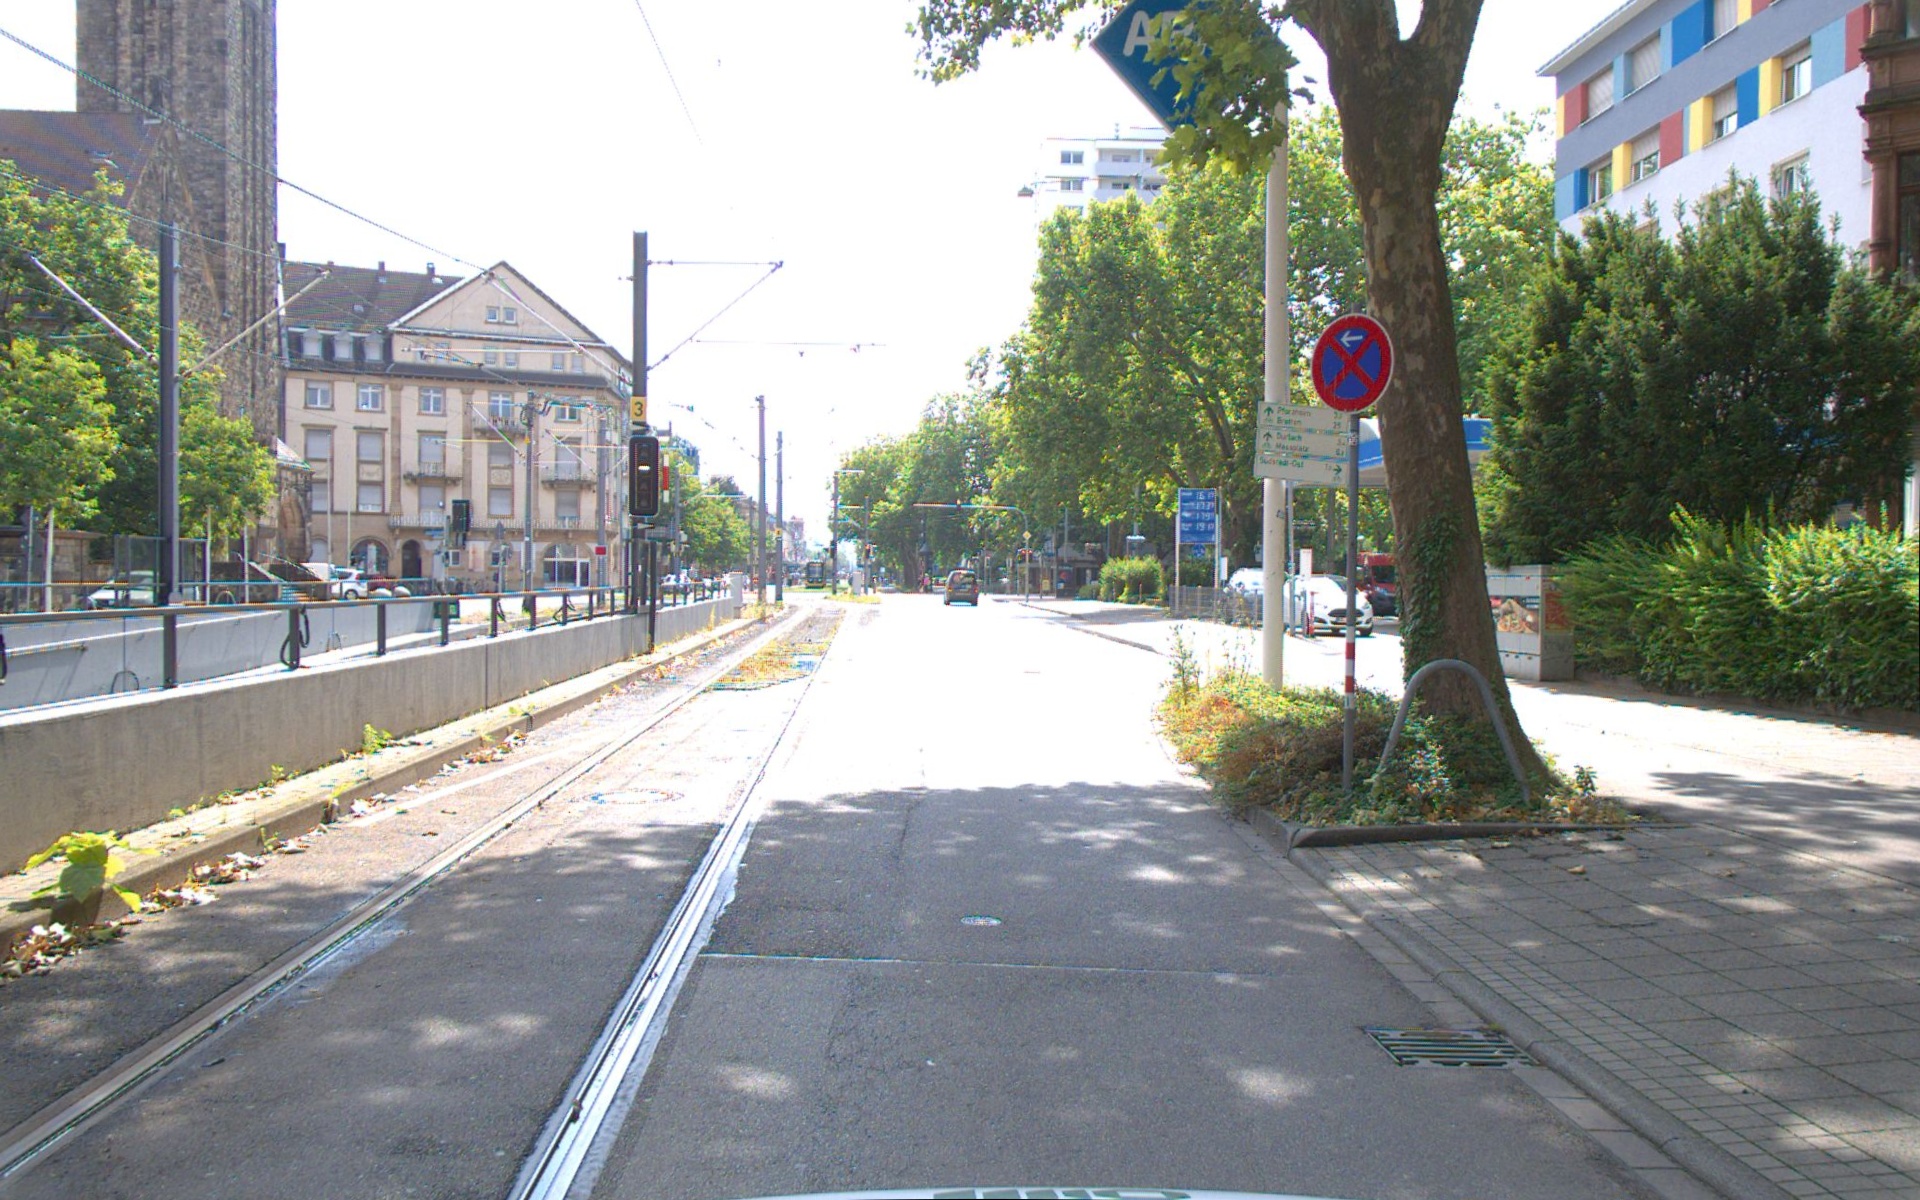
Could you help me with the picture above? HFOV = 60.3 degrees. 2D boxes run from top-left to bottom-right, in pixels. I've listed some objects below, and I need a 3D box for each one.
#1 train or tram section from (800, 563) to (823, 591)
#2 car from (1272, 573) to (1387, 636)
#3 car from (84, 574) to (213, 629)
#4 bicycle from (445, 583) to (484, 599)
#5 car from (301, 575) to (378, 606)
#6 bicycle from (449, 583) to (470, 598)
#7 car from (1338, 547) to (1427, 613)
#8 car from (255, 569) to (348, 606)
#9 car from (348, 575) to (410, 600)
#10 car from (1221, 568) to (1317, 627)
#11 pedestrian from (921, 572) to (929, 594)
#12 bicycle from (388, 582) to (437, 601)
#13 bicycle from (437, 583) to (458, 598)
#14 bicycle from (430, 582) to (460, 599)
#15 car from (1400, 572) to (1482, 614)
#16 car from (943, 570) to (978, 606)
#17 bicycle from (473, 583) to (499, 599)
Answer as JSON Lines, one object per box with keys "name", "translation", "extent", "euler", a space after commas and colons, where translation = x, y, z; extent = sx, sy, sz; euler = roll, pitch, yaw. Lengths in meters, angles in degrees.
{"name": "train or tram section", "translation": [-18.311, -2.845, 204.299], "extent": [2.196, 3.389, 12.965], "euler": [0, 1, -2]}
{"name": "car", "translation": [9.186, 0.088, 41.383], "extent": [1.770, 1.481, 3.999], "euler": [1, 1, -3]}
{"name": "car", "translation": [-23.741, 0.018, 48.586], "extent": [1.893, 1.530, 4.410], "euler": [0, 1, -5]}
{"name": "bicycle", "translation": [-34.809, -0.650, 116.253], "extent": [2.531, 1.071, 0.675], "euler": [0, 1, -31]}
{"name": "car", "translation": [-31.208, -0.499, 83.283], "extent": [3.201, 1.528, 1.853], "euler": [0, 1, -5]}
{"name": "bicycle", "translation": [-35.624, -0.680, 117.762], "extent": [0.795, 1.071, 2.538], "euler": [0, 1, -32]}
{"name": "car", "translation": [17.524, -0.850, 68.936], "extent": [2.069, 2.627, 6.018], "euler": [0, 1, -1]}
{"name": "car", "translation": [-31.800, -0.613, 79.965], "extent": [3.795, 1.779, 1.893], "euler": [0, 1, -6]}
{"name": "car", "translation": [-40.056, -0.875, 114.005], "extent": [3.912, 1.703, 1.996], "euler": [0, 1, 30]}
{"name": "car", "translation": [8.961, -0.093, 48.309], "extent": [1.769, 1.630, 4.581], "euler": [1, 1, -2]}
{"name": "pedestrian", "translation": [-2.978, -1.451, 139.177], "extent": [0.646, 1.815, 0.660], "euler": [0, 0, -3]}
{"name": "bicycle", "translation": [-38.119, -0.587, 115.187], "extent": [3.239, 1.275, 1.000], "euler": [0, 1, 13]}
{"name": "bicycle", "translation": [-36.344, -0.694, 117.312], "extent": [0.795, 1.071, 2.538], "euler": [0, 1, -32]}
{"name": "bicycle", "translation": [-35.735, -0.662, 114.785], "extent": [1.958, 1.134, 0.480], "euler": [-1, 1, -40]}
{"name": "car", "translation": [20.251, -0.322, 69.823], "extent": [1.966, 1.679, 4.651], "euler": [1, 1, -1]}
{"name": "car", "translation": [0.022, -0.646, 89.518], "extent": [1.715, 1.840, 3.473], "euler": [2, 1, -3]}
{"name": "bicycle", "translation": [-34.005, -0.657, 118.618], "extent": [0.786, 1.071, 2.568], "euler": [0, 1, 9]}
